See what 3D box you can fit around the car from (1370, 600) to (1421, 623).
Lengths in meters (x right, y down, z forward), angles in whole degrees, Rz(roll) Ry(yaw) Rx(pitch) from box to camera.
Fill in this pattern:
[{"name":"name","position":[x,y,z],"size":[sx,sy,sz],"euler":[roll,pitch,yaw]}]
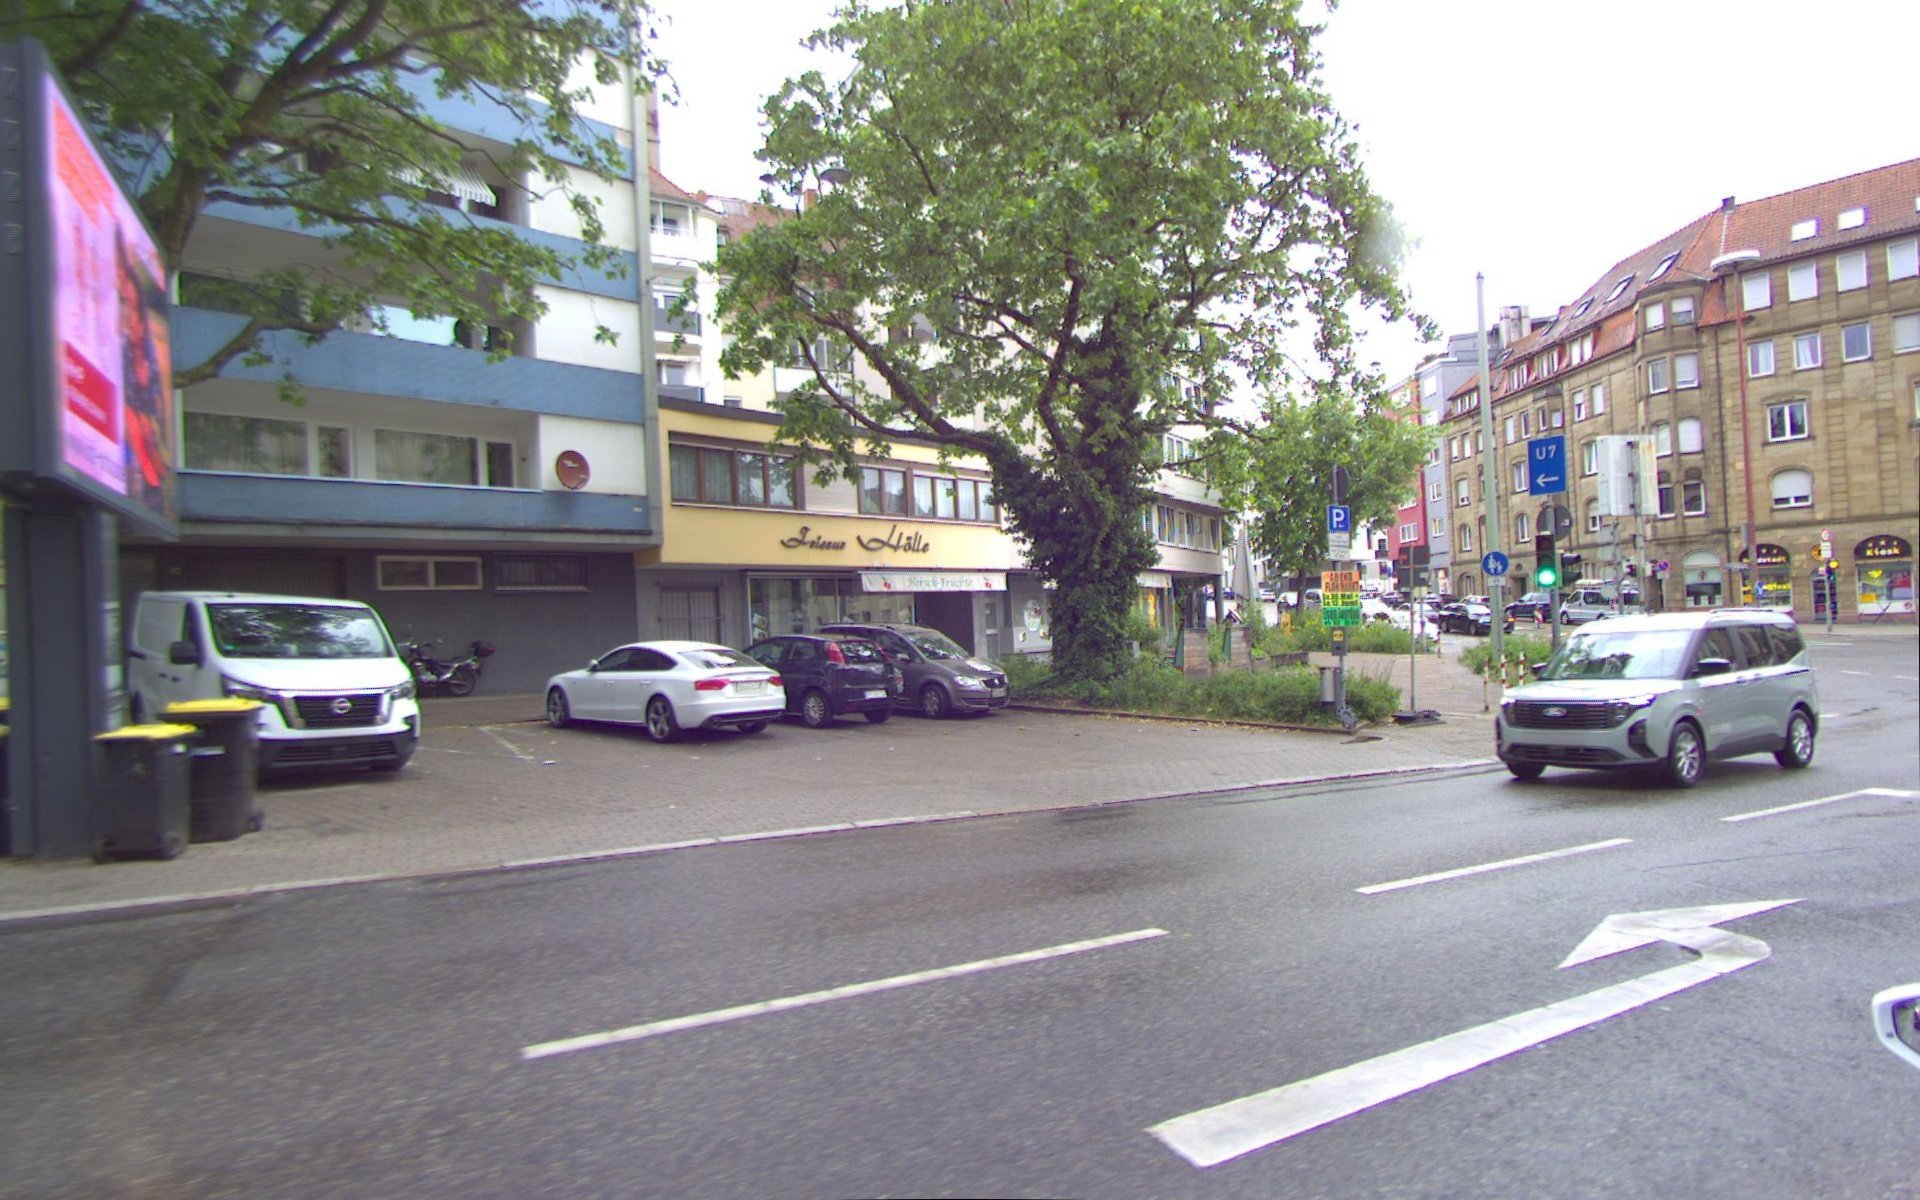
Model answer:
[{"name":"car","position":[33.247,0.871,76.741],"size":[1.961,1.727,4.214],"euler":[0,-1,-2]}]

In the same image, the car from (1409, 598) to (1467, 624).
[{"name":"car","position":[33.529,0.785,70.579],"size":[1.961,1.727,4.214],"euler":[0,-1,-2]}]

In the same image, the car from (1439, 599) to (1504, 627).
[{"name":"car","position":[33.275,0.844,65.490],"size":[1.961,1.727,4.214],"euler":[0,-1,-2]}]

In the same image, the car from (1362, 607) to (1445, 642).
[{"name":"car","position":[20.116,1.091,45.763],"size":[1.876,1.511,4.393],"euler":[-1,0,1]}]

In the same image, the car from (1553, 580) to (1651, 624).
[{"name":"car","position":[33.852,0.131,53.162],"size":[1.961,2.197,4.803],"euler":[0,-1,-2]}]

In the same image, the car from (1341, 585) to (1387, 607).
[{"name":"car","position":[33.107,-0.306,82.392],"size":[1.961,1.727,4.214],"euler":[0,-1,-2]}]

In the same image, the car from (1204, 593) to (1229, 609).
[{"name":"car","position":[29.858,0.130,116.886],"size":[1.665,1.727,4.214],"euler":[0,-1,-2]}]

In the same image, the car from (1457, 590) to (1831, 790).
[{"name":"car","position":[7.854,0.972,11.473],"size":[4.192,1.905,1.806],"euler":[1,-6,-31]}]

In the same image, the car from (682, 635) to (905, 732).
[{"name":"car","position":[-2.861,1.345,17.118],"size":[3.558,1.434,1.627],"euler":[0,-1,31]}]

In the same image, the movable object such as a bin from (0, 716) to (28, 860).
[{"name":"movable object such as a bin","position":[-7.039,1.342,7.143],"size":[0.506,0.977,0.481],"euler":[1,-2,-33]}]

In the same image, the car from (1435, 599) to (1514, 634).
[{"name":"car","position":[24.564,0.775,48.104],"size":[1.732,1.511,4.024],"euler":[-2,0,1]}]

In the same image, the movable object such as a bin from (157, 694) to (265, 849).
[{"name":"movable object such as a bin","position":[-5.857,1.314,7.887],"size":[0.621,1.094,0.638],"euler":[1,-2,-33]}]

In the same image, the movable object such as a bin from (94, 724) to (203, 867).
[{"name":"movable object such as a bin","position":[-5.805,1.377,7.211],"size":[0.540,0.913,0.481],"euler":[1,-2,-33]}]

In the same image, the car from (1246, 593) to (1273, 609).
[{"name":"car","position":[33.411,0.095,112.090],"size":[1.665,1.727,4.214],"euler":[0,-1,-2]}]

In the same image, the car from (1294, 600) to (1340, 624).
[{"name":"car","position":[24.176,0.811,68.148],"size":[1.704,1.558,4.155],"euler":[1,-1,1]}]

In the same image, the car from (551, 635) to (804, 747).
[{"name":"car","position":[-4.319,1.279,15.228],"size":[3.644,1.434,1.806],"euler":[-1,-1,35]}]

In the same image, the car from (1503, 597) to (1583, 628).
[{"name":"car","position":[33.603,0.724,58.062],"size":[1.961,1.727,4.380],"euler":[0,-1,-2]}]

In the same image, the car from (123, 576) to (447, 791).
[{"name":"car","position":[-7.976,0.822,11.662],"size":[4.903,2.003,1.871],"euler":[-1,-1,41]}]

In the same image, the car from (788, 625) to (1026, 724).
[{"name":"car","position":[-1.035,1.317,19.073],"size":[4.142,1.664,1.937],"euler":[0,-1,31]}]

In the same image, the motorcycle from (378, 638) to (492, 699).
[{"name":"motorcycle","position":[-10.693,1.377,20.496],"size":[1.945,1.183,0.696],"euler":[2,-2,-41]}]

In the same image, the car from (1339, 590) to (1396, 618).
[{"name":"car","position":[24.812,0.253,61.278],"size":[1.704,1.558,4.303],"euler":[-2,0,1]}]
